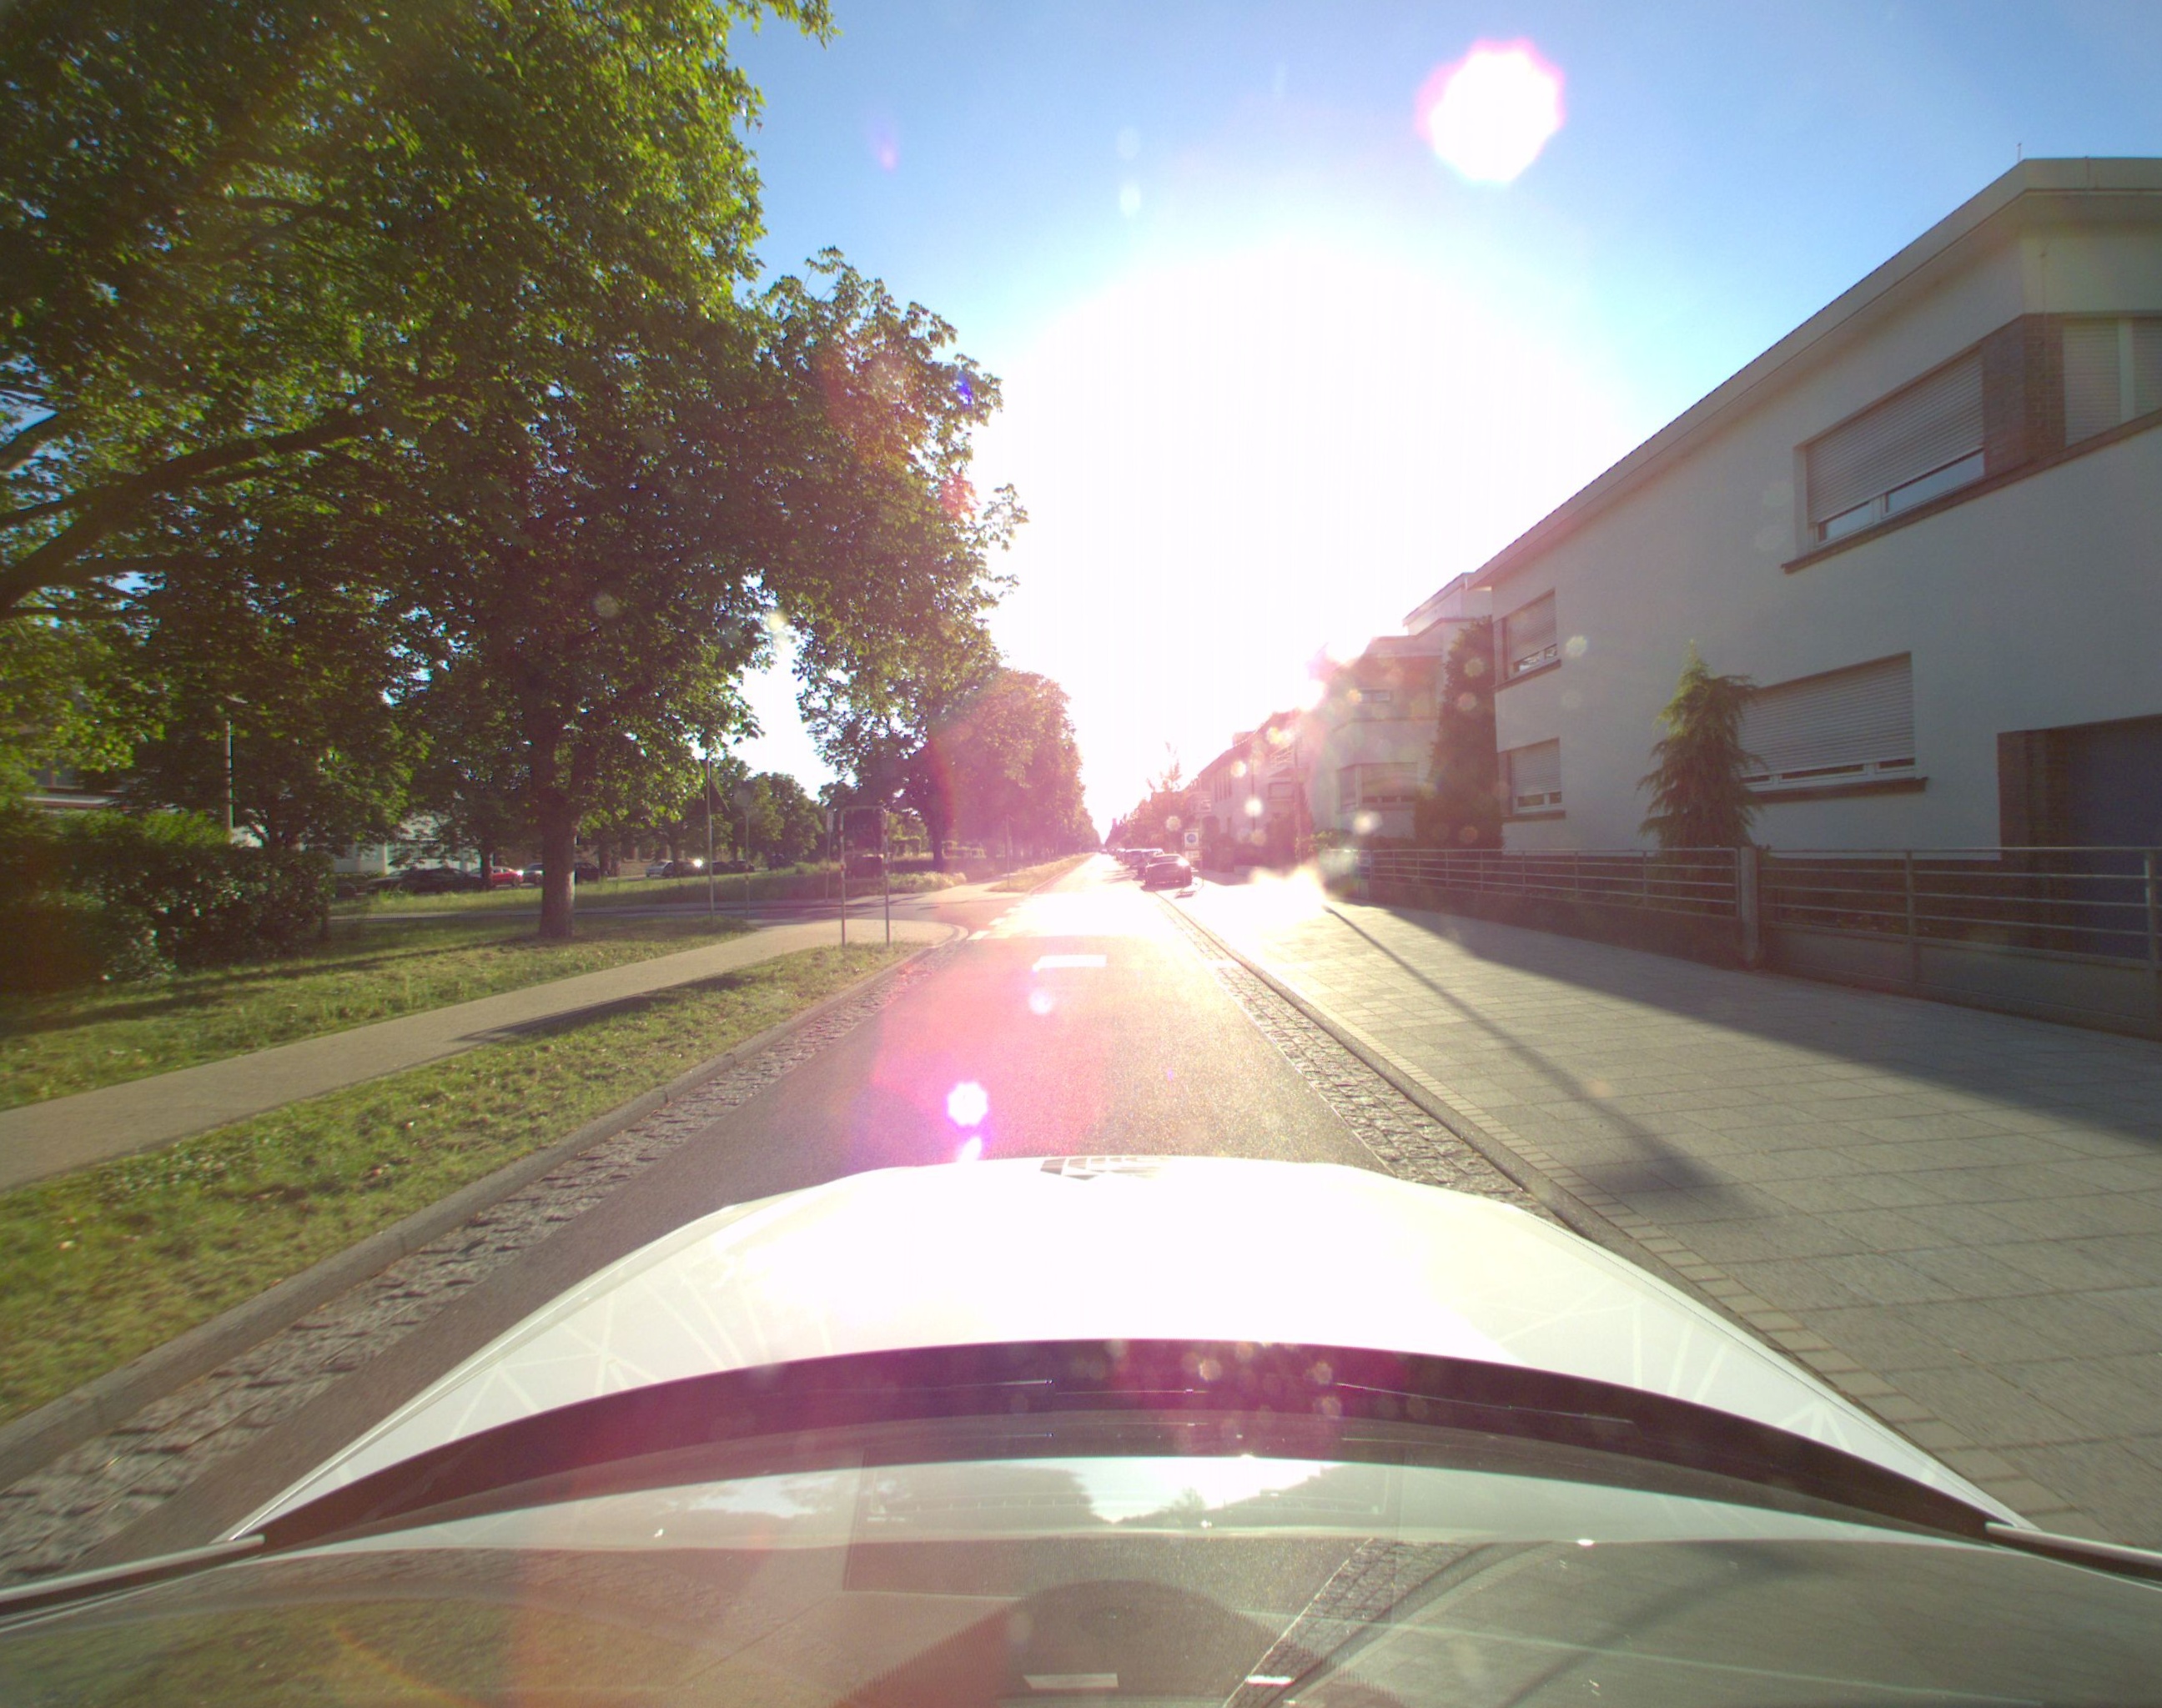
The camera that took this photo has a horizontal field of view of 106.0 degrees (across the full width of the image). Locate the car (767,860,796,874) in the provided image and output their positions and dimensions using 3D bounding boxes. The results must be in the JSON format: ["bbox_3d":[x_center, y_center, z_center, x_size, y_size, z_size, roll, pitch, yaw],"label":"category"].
[{"bbox_3d":[-34.545,1.484,94.031,1.686,1.597,4.222,-1,0,1],"label":"car"}]

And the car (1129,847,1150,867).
[{"bbox_3d":[4.802,0.211,67.222,1.621,1.504,3.635,-3,1,2],"label":"car"}]

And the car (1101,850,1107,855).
[{"bbox_3d":[6.873,-0.544,245.686,1.646,1.541,3.268,0,0,2],"label":"car"}]

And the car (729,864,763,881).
[{"bbox_3d":[-34.529,1.841,83.985,1.686,1.597,4.222,-1,0,1],"label":"car"}]

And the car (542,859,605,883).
[{"bbox_3d":[-35.598,1.173,57.281,1.686,1.597,4.222,-1,0,1],"label":"car"}]

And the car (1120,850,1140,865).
[{"bbox_3d":[5.012,0.388,83.639,1.731,1.449,4.197,-3,0,0],"label":"car"}]

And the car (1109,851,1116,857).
[{"bbox_3d":[7.567,0.019,197.303,1.645,1.541,3.269,0,0,3],"label":"car"}]

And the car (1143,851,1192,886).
[{"bbox_3d":[3.764,0.593,35.939,1.768,1.288,4.275,-4,1,2],"label":"car"}]

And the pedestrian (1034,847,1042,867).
[{"bbox_3d":[-4.081,0.268,78.035,0.621,1.831,0.887,-1,0,5],"label":"pedestrian"}]

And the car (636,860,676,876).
[{"bbox_3d":[-40.602,1.340,77.837,1.623,1.405,4.001,-1,0,1],"label":"car"}]

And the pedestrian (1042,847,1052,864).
[{"bbox_3d":[-3.286,0.099,78.289,0.779,1.614,0.953,-1,0,5],"label":"pedestrian"}]

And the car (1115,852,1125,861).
[{"bbox_3d":[6.450,0.417,134.604,1.492,1.567,3.269,-2,0,3],"label":"car"}]

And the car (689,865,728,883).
[{"bbox_3d":[-35.408,1.863,77.567,1.686,1.597,4.222,-1,0,1],"label":"car"}]

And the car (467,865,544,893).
[{"bbox_3d":[-34.954,1.494,49.628,1.687,1.476,4.220,-1,0,0],"label":"car"}]

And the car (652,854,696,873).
[{"bbox_3d":[-35.783,0.816,71.781,1.686,1.597,4.222,-1,0,1],"label":"car"}]

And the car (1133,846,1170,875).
[{"bbox_3d":[4.042,0.363,47.243,1.738,1.474,3.922,-4,0,0],"label":"car"}]

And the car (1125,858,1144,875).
[{"bbox_3d":[4.999,1.160,75.890,1.650,1.494,3.721,-3,0,5],"label":"car"}]

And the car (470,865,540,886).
[{"bbox_3d":[-40.470,1.504,57.329,1.564,1.332,4.482,0,0,3],"label":"car"}]
